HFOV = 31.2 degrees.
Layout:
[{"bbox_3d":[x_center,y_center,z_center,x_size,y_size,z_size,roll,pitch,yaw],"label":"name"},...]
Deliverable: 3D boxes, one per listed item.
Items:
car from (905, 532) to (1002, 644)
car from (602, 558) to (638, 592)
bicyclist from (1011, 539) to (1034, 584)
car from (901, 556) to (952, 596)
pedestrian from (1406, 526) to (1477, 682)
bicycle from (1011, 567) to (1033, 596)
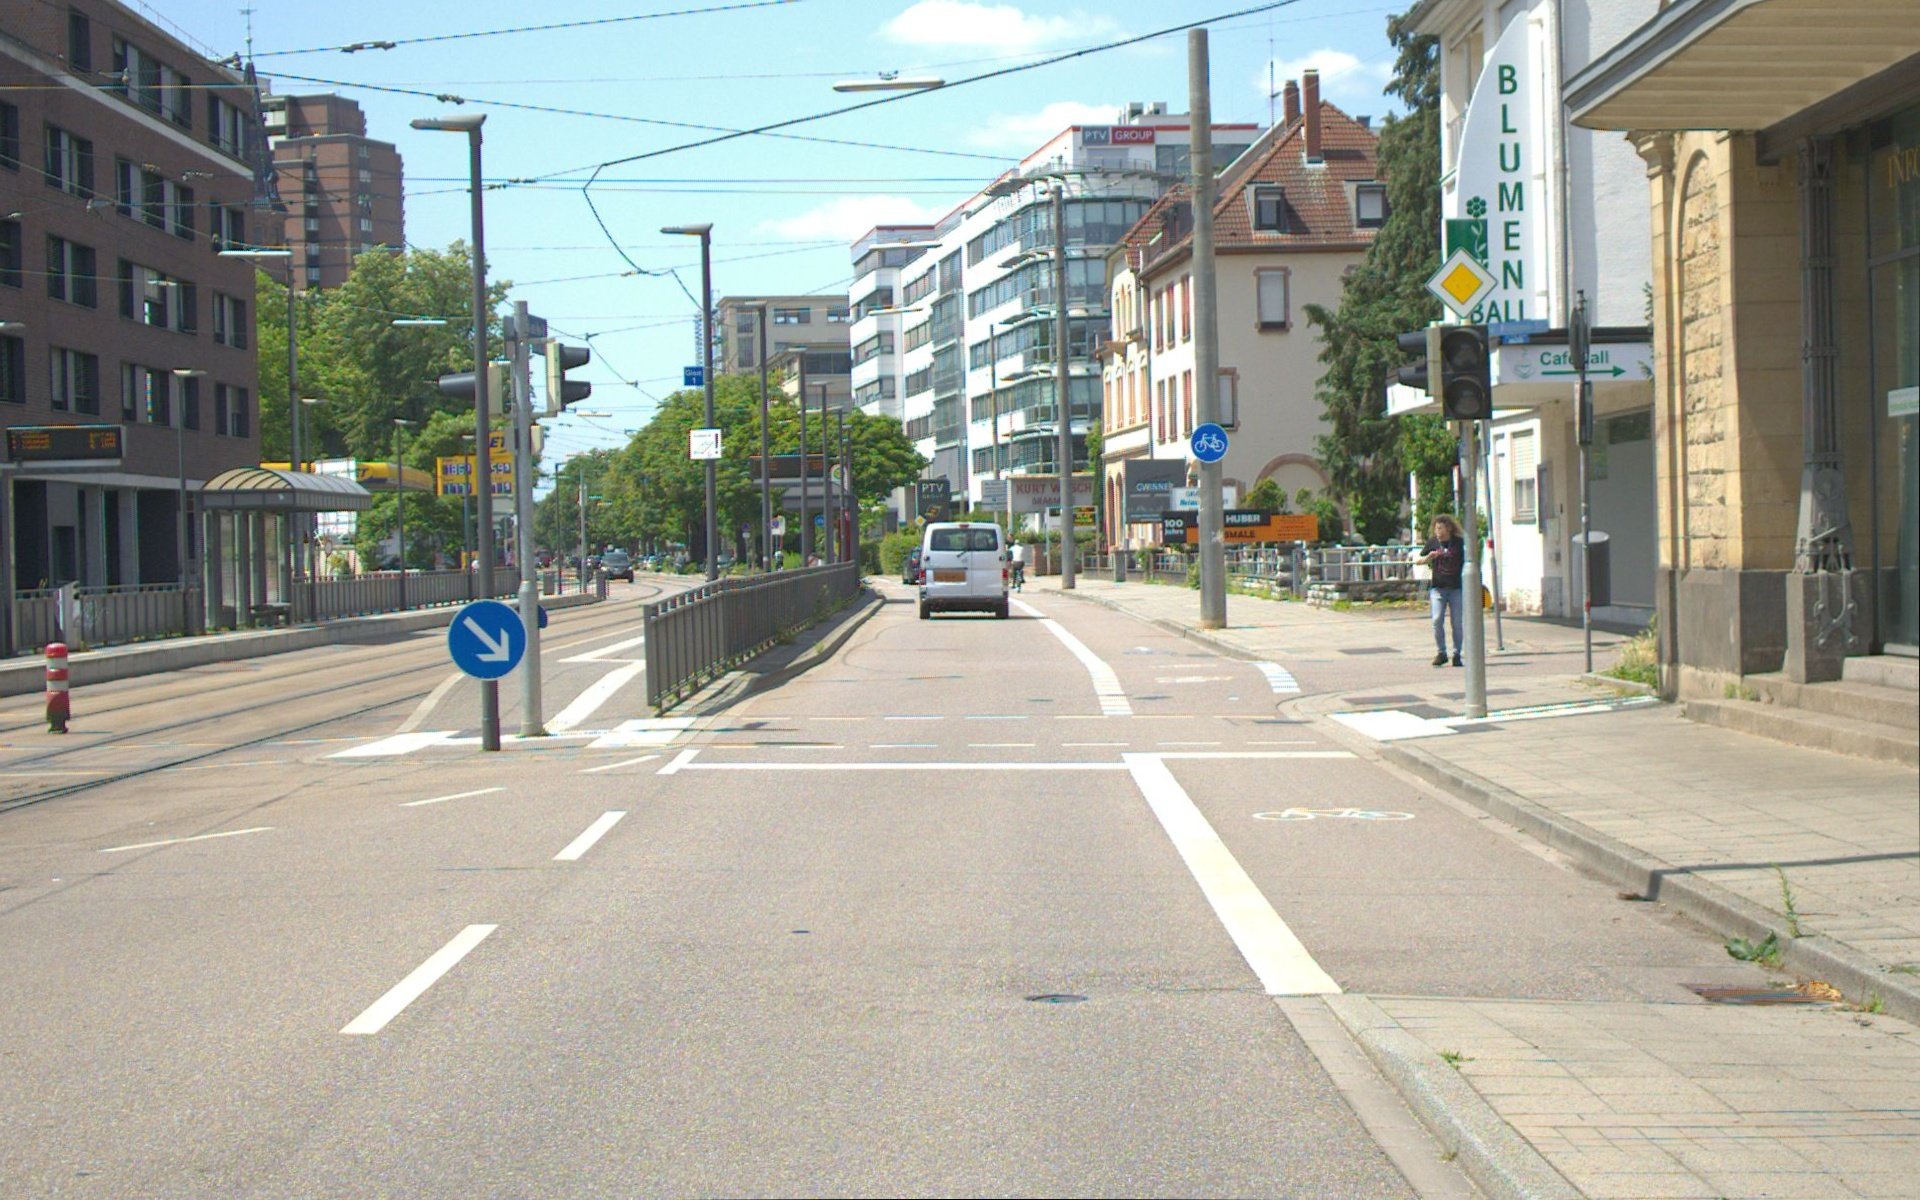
[{"bbox_3d":[-0.152,-0.259,66.606,1.752,2.006,4.000,-2,2,-1],"label":"car"},{"bbox_3d":[-18.631,-1.358,188.392,1.698,1.610,3.758,-4,-1,-8],"label":"car"},{"bbox_3d":[1.934,-1.201,106.594,0.591,1.392,0.842,-1,1,-4],"label":"bicyclist"},{"bbox_3d":[-1.538,-1.096,154.982,1.863,1.681,5.001,-2,1,-5],"label":"car"},{"bbox_3d":[4.949,0.040,35.397,0.577,1.551,0.786,-3,0,3],"label":"pedestrian"},{"bbox_3d":[1.915,-0.586,106.613,0.465,0.884,2.048,-1,1,-4],"label":"bicycle"}]
